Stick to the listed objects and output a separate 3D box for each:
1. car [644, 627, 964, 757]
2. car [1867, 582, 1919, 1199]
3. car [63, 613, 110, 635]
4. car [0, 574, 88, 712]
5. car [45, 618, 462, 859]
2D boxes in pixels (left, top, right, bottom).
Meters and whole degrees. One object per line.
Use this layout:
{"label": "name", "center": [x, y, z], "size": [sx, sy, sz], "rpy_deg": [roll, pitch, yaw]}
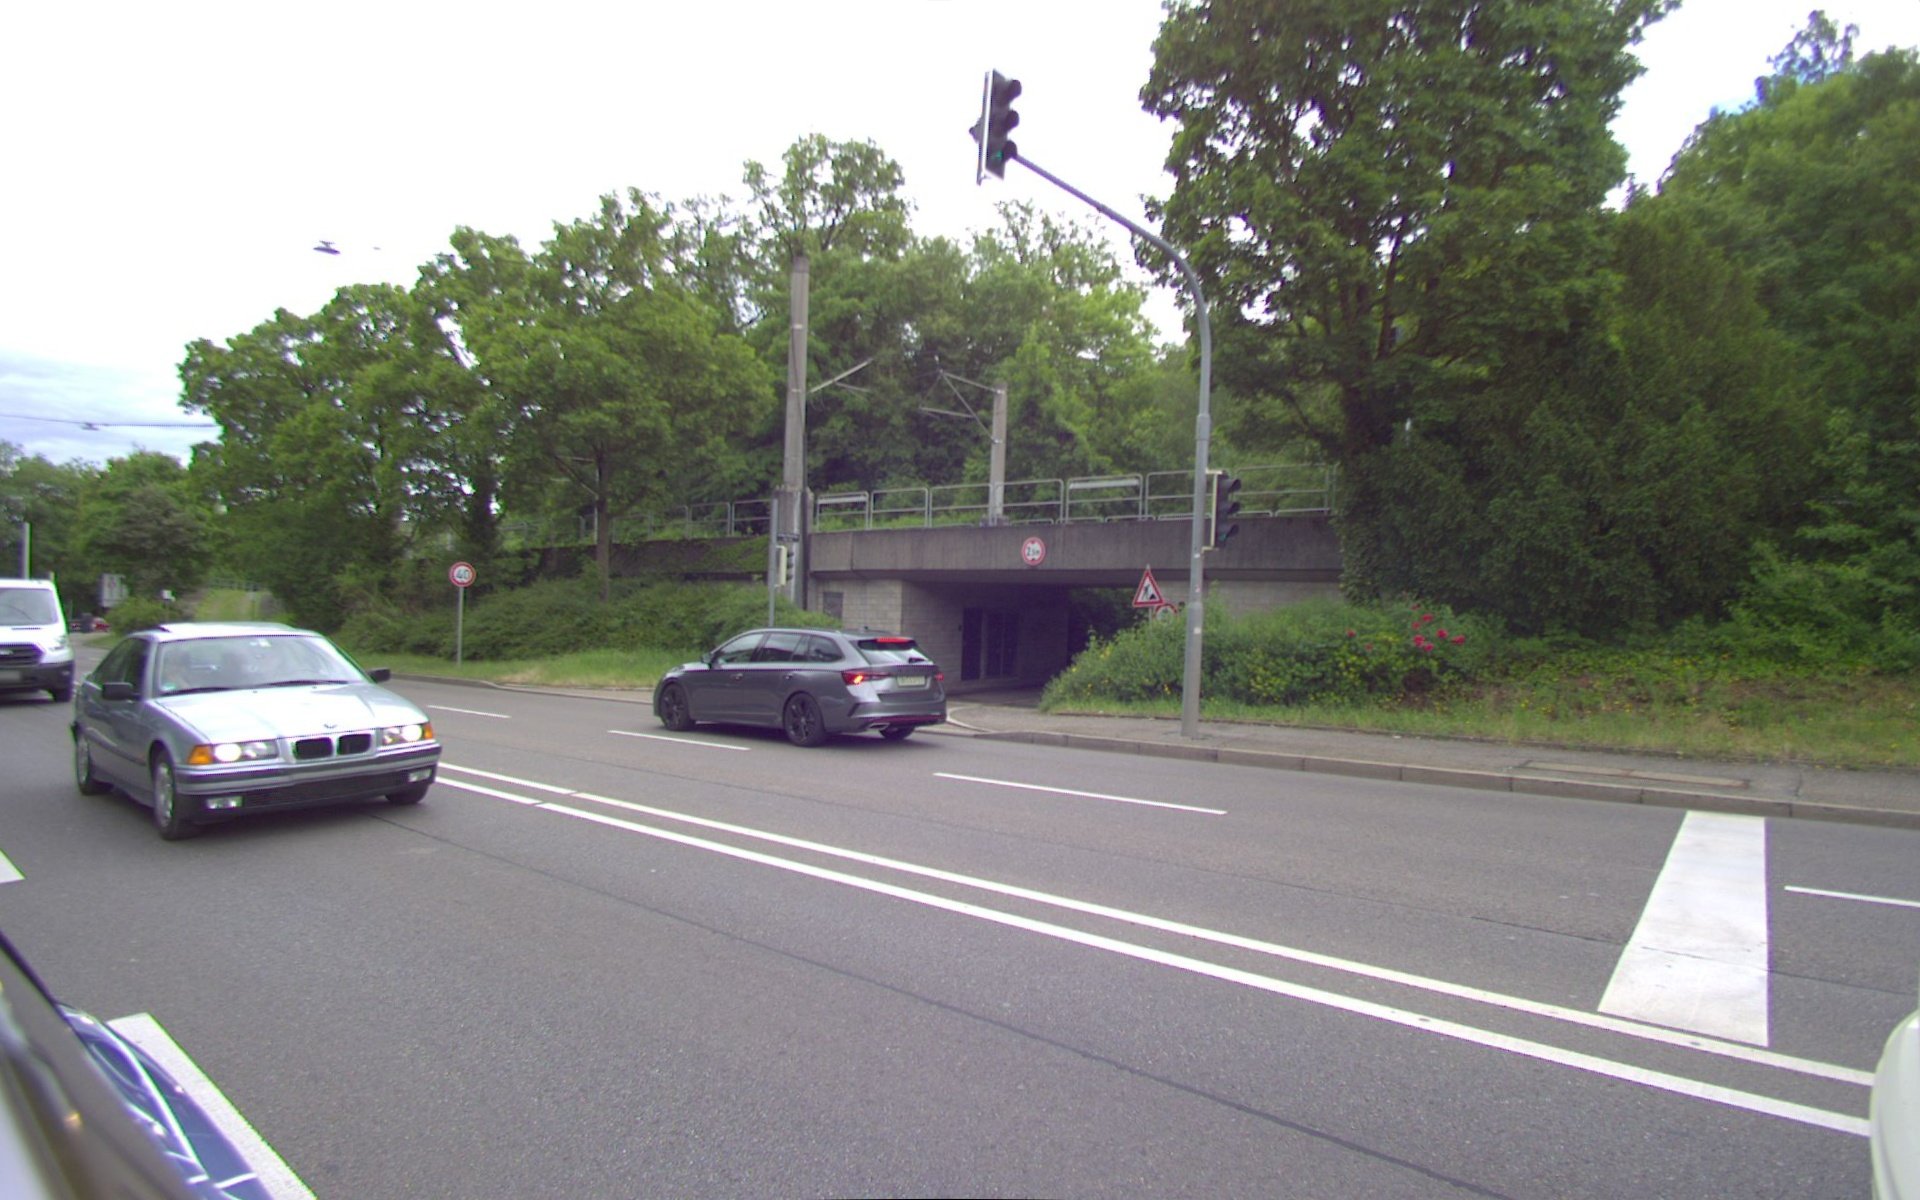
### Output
{"label": "car", "center": [-2.140, 1.065, 13.124], "size": [4.358, 1.406, 1.662], "rpy_deg": [-1, -3, 41]}
{"label": "car", "center": [3.030, 0.663, 0.506], "size": [3.729, 1.434, 1.667], "rpy_deg": [-1, -1, 40]}
{"label": "car", "center": [-86.623, 2.384, 100.415], "size": [1.966, 2.029, 4.012], "rpy_deg": [2, -1, -16]}
{"label": "car", "center": [-17.871, 0.735, 18.303], "size": [6.454, 2.217, 2.256], "rpy_deg": [-1, -1, 41]}
{"label": "car", "center": [-5.678, 0.855, 7.930], "size": [4.179, 1.401, 1.643], "rpy_deg": [-1, -1, 40]}
